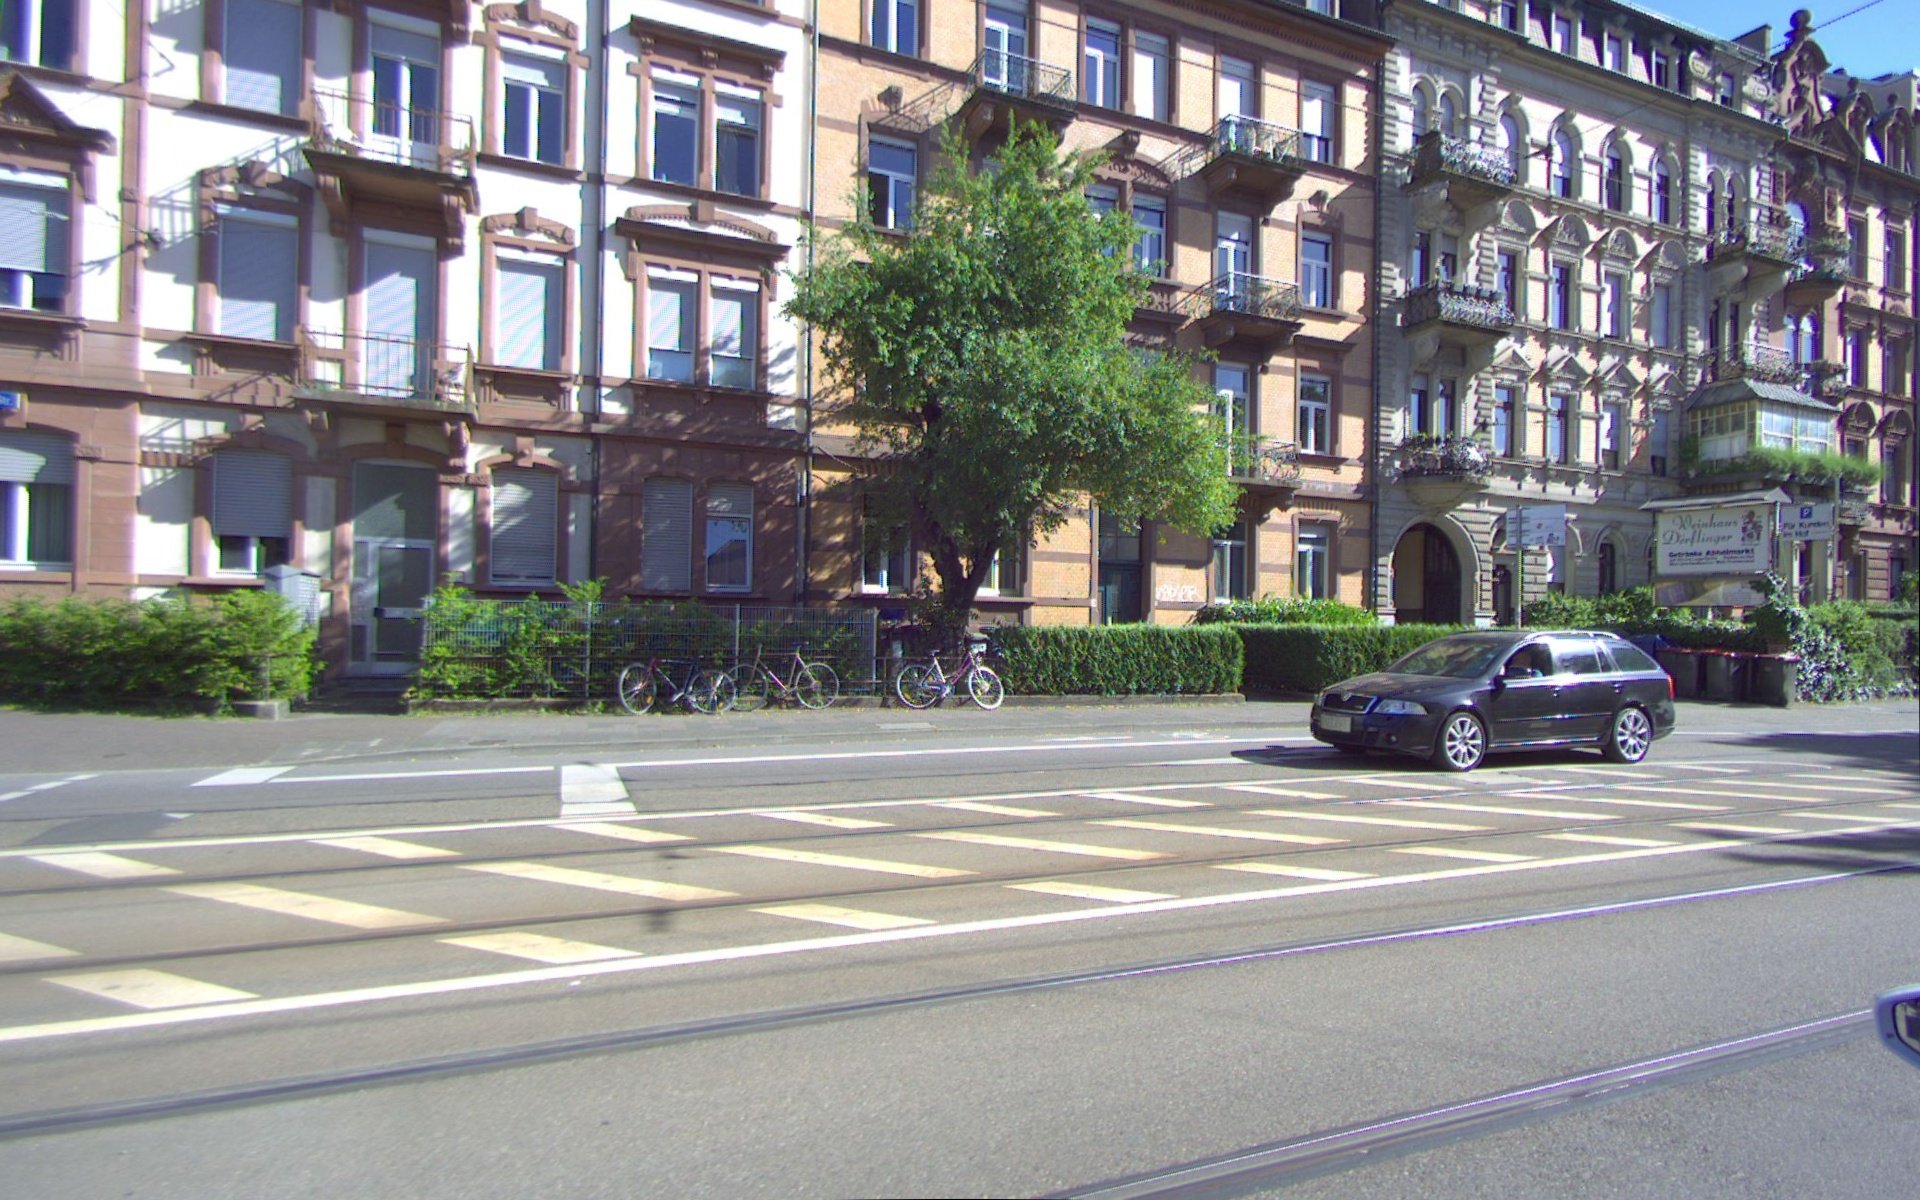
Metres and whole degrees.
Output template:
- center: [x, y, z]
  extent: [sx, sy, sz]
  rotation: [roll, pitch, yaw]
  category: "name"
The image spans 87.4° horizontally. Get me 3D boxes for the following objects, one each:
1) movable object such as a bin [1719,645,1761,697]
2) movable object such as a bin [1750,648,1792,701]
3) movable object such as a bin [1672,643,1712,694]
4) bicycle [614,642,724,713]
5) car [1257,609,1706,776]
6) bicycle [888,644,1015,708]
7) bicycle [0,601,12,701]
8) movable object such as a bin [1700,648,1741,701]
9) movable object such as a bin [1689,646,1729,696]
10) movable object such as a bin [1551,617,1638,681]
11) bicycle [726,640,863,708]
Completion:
- center: [17.174, 1.568, 22.121]
  extent: [0.533, 1.100, 0.478]
  rotation: [2, 1, -21]
  category: "movable object such as a bin"
- center: [17.448, 1.594, 21.614]
  extent: [0.533, 1.100, 0.478]
  rotation: [2, 1, -21]
  category: "movable object such as a bin"
- center: [16.388, 1.524, 22.485]
  extent: [0.533, 1.100, 0.478]
  rotation: [2, 1, -21]
  category: "movable object such as a bin"
- center: [-4.039, 1.078, 13.979]
  extent: [1.429, 0.938, 0.341]
  rotation: [2, 1, -19]
  category: "bicycle"
- center: [6.020, 0.981, 11.561]
  extent: [4.895, 1.538, 1.828]
  rotation: [2, 2, -23]
  category: "car"
- center: [-0.120, 1.173, 15.419]
  extent: [1.912, 0.938, 0.341]
  rotation: [2, 1, -19]
  category: "bicycle"
- center: [-13.706, 0.647, 13.569]
  extent: [2.005, 1.313, 0.420]
  rotation: [2, 1, 20]
  category: "bicycle"
- center: [16.599, 1.619, 21.931]
  extent: [0.533, 1.100, 0.478]
  rotation: [2, 1, -21]
  category: "movable object such as a bin"
- center: [16.949, 1.606, 22.739]
  extent: [0.533, 1.100, 0.478]
  rotation: [2, 1, -21]
  category: "movable object such as a bin"
- center: [15.419, 1.184, 24.445]
  extent: [1.153, 1.467, 1.317]
  rotation: [2, 1, -21]
  category: "movable object such as a bin"
- center: [-2.398, 1.078, 14.603]
  extent: [1.912, 0.938, 0.341]
  rotation: [2, 1, -19]
  category: "bicycle"
